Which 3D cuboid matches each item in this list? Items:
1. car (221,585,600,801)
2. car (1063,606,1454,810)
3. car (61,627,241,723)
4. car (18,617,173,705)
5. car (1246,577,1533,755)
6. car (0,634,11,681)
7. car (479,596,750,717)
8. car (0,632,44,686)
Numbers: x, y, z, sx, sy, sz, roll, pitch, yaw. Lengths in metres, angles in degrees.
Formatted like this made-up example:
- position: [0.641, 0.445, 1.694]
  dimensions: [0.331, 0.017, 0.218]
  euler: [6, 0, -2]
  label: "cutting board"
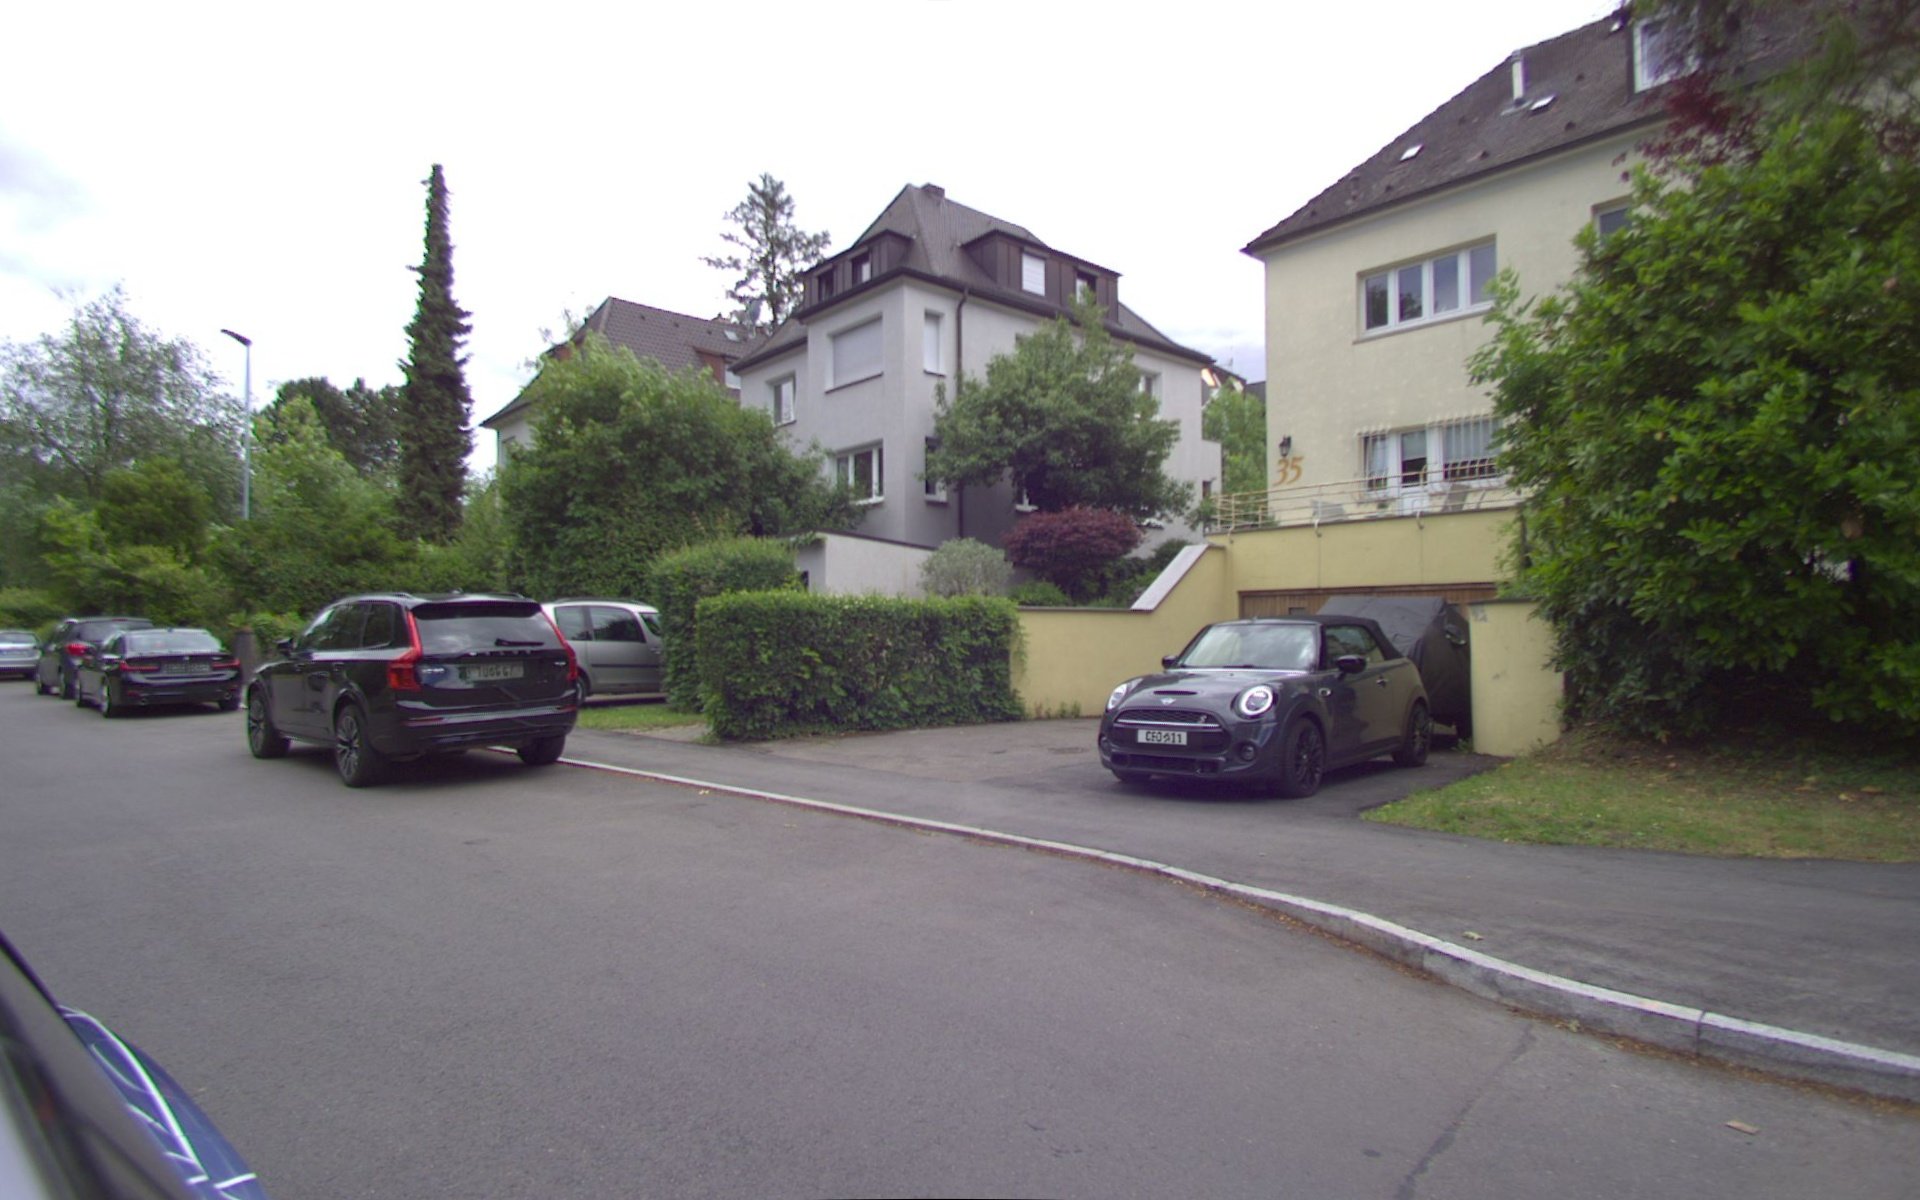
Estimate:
- position: [-6.006, 0.805, 10.704]
  dimensions: [5.189, 1.750, 1.953]
  euler: [-2, -1, 43]
  label: "car"
- position: [2.780, 0.797, 8.941]
  dimensions: [1.778, 1.396, 3.780]
  euler: [-3, -3, 43]
  label: "car"
- position: [-14.178, 1.208, 17.626]
  dimensions: [4.897, 1.423, 1.735]
  euler: [-2, -1, 43]
  label: "car"
- position: [-18.232, 1.222, 21.270]
  dimensions: [4.564, 1.645, 1.714]
  euler: [-2, -1, 40]
  label: "car"
- position: [5.268, 0.811, 12.261]
  dimensions: [3.506, 1.808, 2.011]
  euler: [5, -5, -44]
  label: "car"
- position: [-32.112, 1.857, 32.701]
  dimensions: [4.379, 1.464, 1.642]
  euler: [-2, -3, 41]
  label: "car"
- position: [-5.396, 0.804, 15.942]
  dimensions: [3.644, 1.650, 1.832]
  euler: [-1, -1, -37]
  label: "car"
- position: [-27.739, 1.660, 28.997]
  dimensions: [4.089, 1.461, 1.607]
  euler: [-2, -3, 39]
  label: "car"
